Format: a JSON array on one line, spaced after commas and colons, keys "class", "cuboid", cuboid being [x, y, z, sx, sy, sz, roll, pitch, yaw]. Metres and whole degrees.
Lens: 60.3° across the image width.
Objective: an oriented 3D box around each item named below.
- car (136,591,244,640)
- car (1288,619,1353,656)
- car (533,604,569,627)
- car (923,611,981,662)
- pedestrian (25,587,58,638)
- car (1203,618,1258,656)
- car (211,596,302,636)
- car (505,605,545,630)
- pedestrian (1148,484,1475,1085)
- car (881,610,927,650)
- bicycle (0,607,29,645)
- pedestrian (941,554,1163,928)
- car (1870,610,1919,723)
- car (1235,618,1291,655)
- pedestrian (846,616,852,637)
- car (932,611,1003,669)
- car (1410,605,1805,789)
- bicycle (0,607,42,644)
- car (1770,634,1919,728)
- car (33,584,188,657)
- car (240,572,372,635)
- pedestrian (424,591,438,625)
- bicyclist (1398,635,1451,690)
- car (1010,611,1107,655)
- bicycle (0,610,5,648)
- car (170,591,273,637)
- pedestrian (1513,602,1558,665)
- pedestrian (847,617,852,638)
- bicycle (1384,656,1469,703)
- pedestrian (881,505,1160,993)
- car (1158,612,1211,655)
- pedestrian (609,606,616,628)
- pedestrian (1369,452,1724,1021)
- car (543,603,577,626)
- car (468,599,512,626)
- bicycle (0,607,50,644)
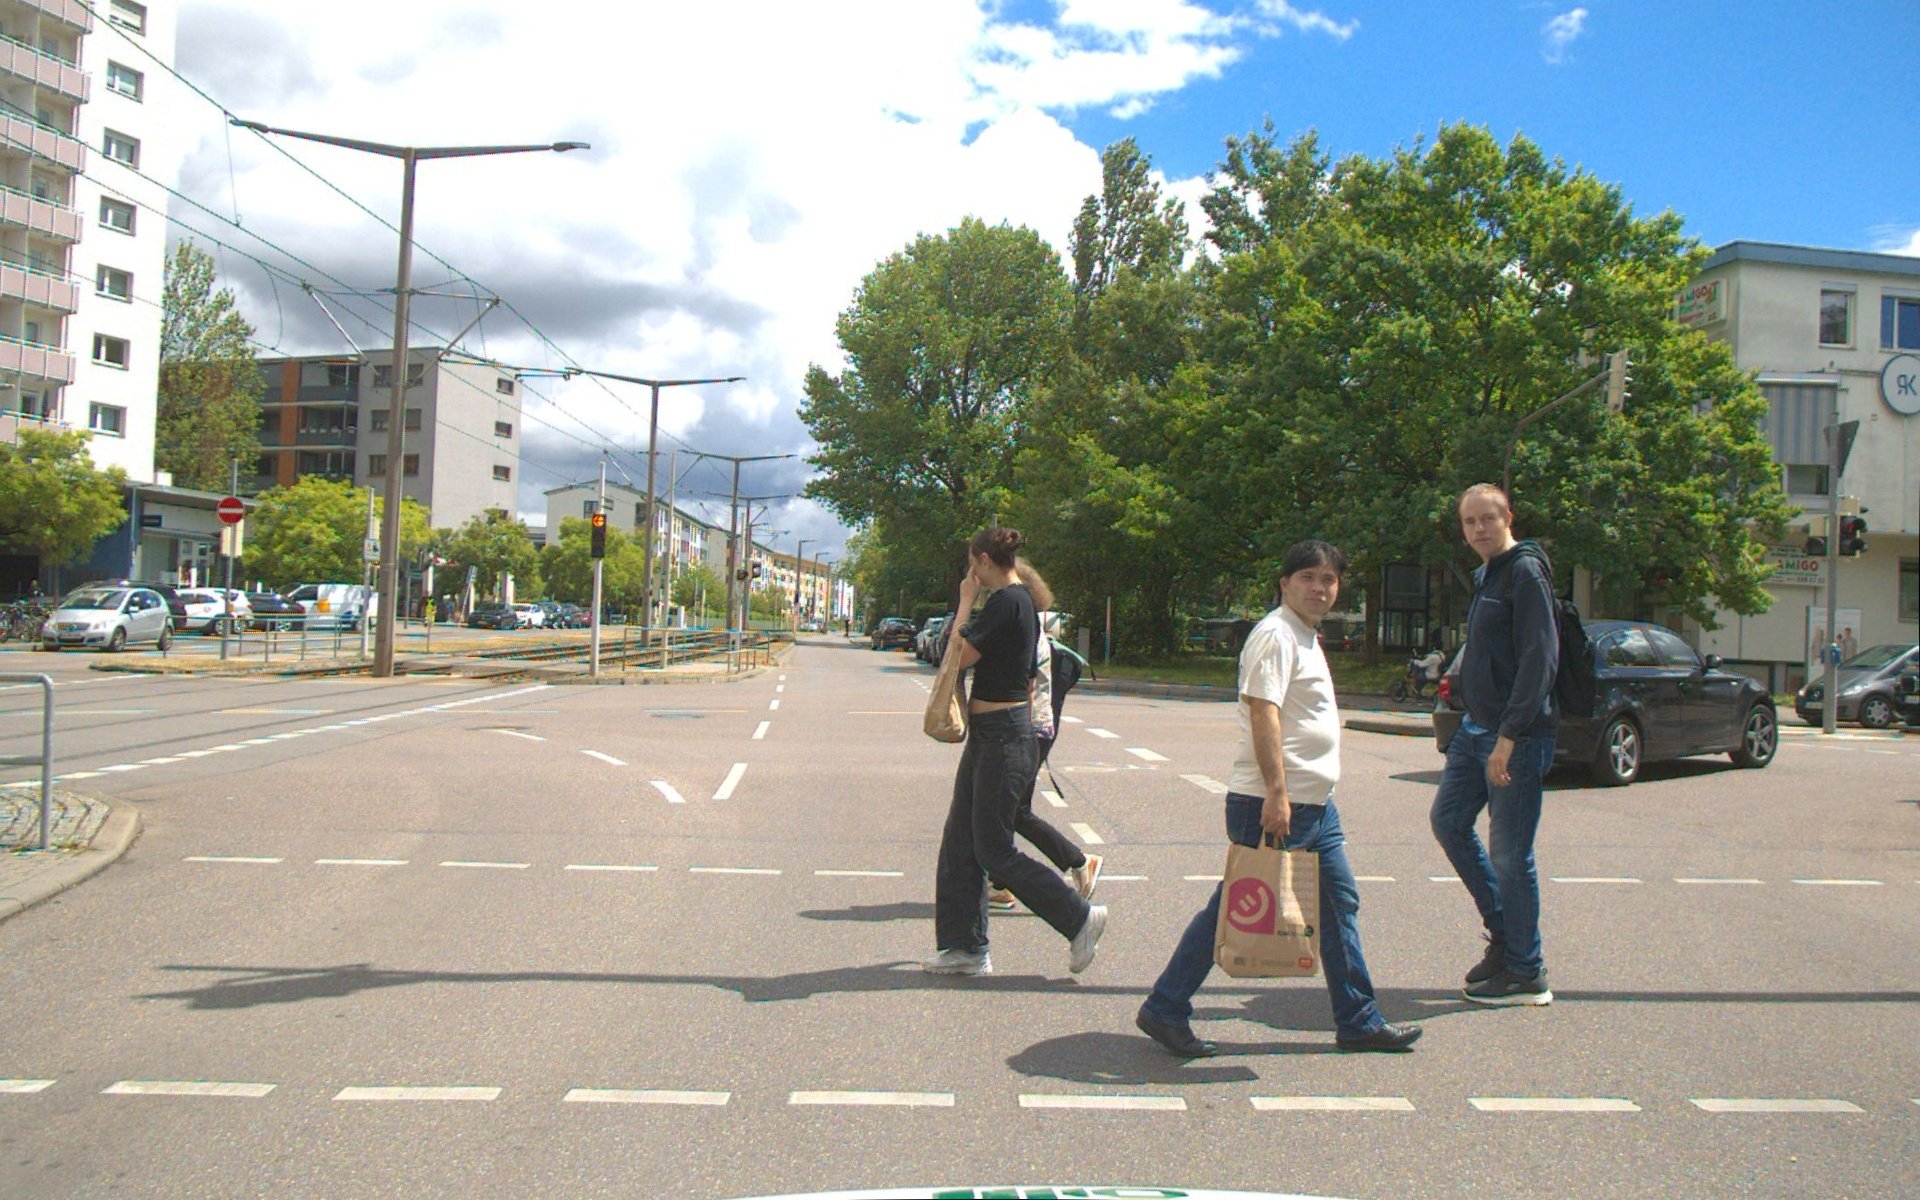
[{"class": "car", "cuboid": [-26.776, 0.536, 57.466, 4.143, 1.597, 1.949, 1, 0, 43]}, {"class": "car", "cuboid": [16.801, 1.742, 77.226, 1.698, 1.623, 3.993, 1, 0, -8]}, {"class": "car", "cuboid": [-25.835, 0.978, 104.642, 1.728, 1.419, 3.993, 1, 0, -7]}, {"class": "car", "cuboid": [-0.305, 1.307, 59.198, 1.953, 1.713, 3.999, 1, -1, -1]}, {"class": "pedestrian", "cuboid": [-30.178, 0.411, 54.351, 0.754, 1.643, 0.695, 1, 0, -16]}, {"class": "car", "cuboid": [12.314, 1.665, 75.424, 1.598, 1.600, 4.029, 1, 0, -4]}, {"class": "car", "cuboid": [-27.178, 0.597, 63.849, 4.147, 1.445, 1.777, 1, 0, 45]}, {"class": "car", "cuboid": [-25.726, 1.031, 97.958, 1.728, 1.419, 3.993, 1, 0, -7]}, {"class": "pedestrian", "cuboid": [1.130, 0.571, 5.469, 0.851, 1.839, 0.741, 1, 0, -5]}, {"class": "car", "cuboid": [-2.513, 1.338, 74.510, 1.953, 1.713, 3.999, 1, 0, -1]}, {"class": "bicycle", "cuboid": [-24.905, 0.652, 42.210, 1.910, 0.951, 0.494, 1, -1, -7]}, {"class": "pedestrian", "cuboid": [0.470, 0.642, 8.058, 0.932, 1.703, 0.871, 0, 0, 14]}, {"class": "car", "cuboid": [17.126, 1.079, 26.182, 4.472, 1.747, 1.997, 1, 0, -8]}, {"class": "car", "cuboid": [14.050, 1.676, 76.825, 1.598, 1.623, 3.997, 1, 0, -4]}, {"class": "pedestrian", "cuboid": [-8.838, 2.091, 131.789, 0.469, 1.665, 0.454, 1, 0, -2]}, {"class": "car", "cuboid": [0.200, 1.240, 51.760, 2.108, 1.713, 3.999, 1, -1, -1]}, {"class": "car", "cuboid": [6.174, 0.826, 15.610, 3.960, 1.513, 1.734, 0, -1, -39]}, {"class": "bicycle", "cuboid": [-24.855, 0.656, 42.745, 1.910, 0.951, 0.494, 1, -1, -7]}, {"class": "car", "cuboid": [17.134, 1.462, 30.181, 3.838, 1.583, 1.994, 1, 0, -12]}, {"class": "car", "cuboid": [-21.263, 0.502, 41.594, 1.898, 1.723, 3.872, 1, 0, -1]}, {"class": "car", "cuboid": [-27.332, 0.112, 68.996, 2.811, 2.522, 6.614, 1, 0, -44]}, {"class": "pedestrian", "cuboid": [-27.552, 0.400, 86.137, 0.537, 1.746, 0.667, 1, 0, -11]}, {"class": "bicyclist", "cuboid": [9.174, 1.226, 32.701, 0.778, 1.040, 0.633, 2, 0, -16]}, {"class": "car", "cuboid": [4.385, 1.445, 73.345, 3.933, 1.855, 1.766, 1, 0, -24]}, {"class": "bicycle", "cuboid": [-24.901, 0.708, 41.170, 1.910, 0.951, 0.494, 1, -1, -7]}, {"class": "car", "cuboid": [-27.157, 0.508, 60.768, 4.143, 1.564, 1.949, 1, 0, 43]}, {"class": "pedestrian", "cuboid": [15.694, 0.905, 45.118, 0.755, 1.672, 0.904, 2, 0, -15]}, {"class": "pedestrian", "cuboid": [-8.816, 2.155, 131.776, 0.328, 1.656, 0.356, 1, 0, -19]}, {"class": "bicycle", "cuboid": [9.197, 1.563, 32.661, 0.779, 0.833, 1.800, 2, 0, -16]}, {"class": "pedestrian", "cuboid": [0.216, 0.555, 6.570, 0.917, 1.796, 0.770, 1, 0, -12]}, {"class": "car", "cuboid": [10.113, 1.482, 74.688, 1.598, 1.842, 4.029, 1, 0, -4]}, {"class": "pedestrian", "cuboid": [-26.649, 1.330, 126.728, 0.444, 1.665, 0.480, 1, 0, -3]}, {"class": "pedestrian", "cuboid": [2.170, 0.484, 6.243, 0.947, 1.976, 0.896, 1, 0, -5]}, {"class": "car", "cuboid": [-26.395, 0.956, 109.197, 1.728, 1.419, 3.993, 1, 0, -7]}, {"class": "car", "cuboid": [-25.709, 0.683, 90.590, 1.728, 1.419, 3.993, 1, 0, -7]}, {"class": "bicycle", "cuboid": [-24.909, 0.658, 43.238, 1.910, 0.951, 0.494, 1, -1, -7]}]
